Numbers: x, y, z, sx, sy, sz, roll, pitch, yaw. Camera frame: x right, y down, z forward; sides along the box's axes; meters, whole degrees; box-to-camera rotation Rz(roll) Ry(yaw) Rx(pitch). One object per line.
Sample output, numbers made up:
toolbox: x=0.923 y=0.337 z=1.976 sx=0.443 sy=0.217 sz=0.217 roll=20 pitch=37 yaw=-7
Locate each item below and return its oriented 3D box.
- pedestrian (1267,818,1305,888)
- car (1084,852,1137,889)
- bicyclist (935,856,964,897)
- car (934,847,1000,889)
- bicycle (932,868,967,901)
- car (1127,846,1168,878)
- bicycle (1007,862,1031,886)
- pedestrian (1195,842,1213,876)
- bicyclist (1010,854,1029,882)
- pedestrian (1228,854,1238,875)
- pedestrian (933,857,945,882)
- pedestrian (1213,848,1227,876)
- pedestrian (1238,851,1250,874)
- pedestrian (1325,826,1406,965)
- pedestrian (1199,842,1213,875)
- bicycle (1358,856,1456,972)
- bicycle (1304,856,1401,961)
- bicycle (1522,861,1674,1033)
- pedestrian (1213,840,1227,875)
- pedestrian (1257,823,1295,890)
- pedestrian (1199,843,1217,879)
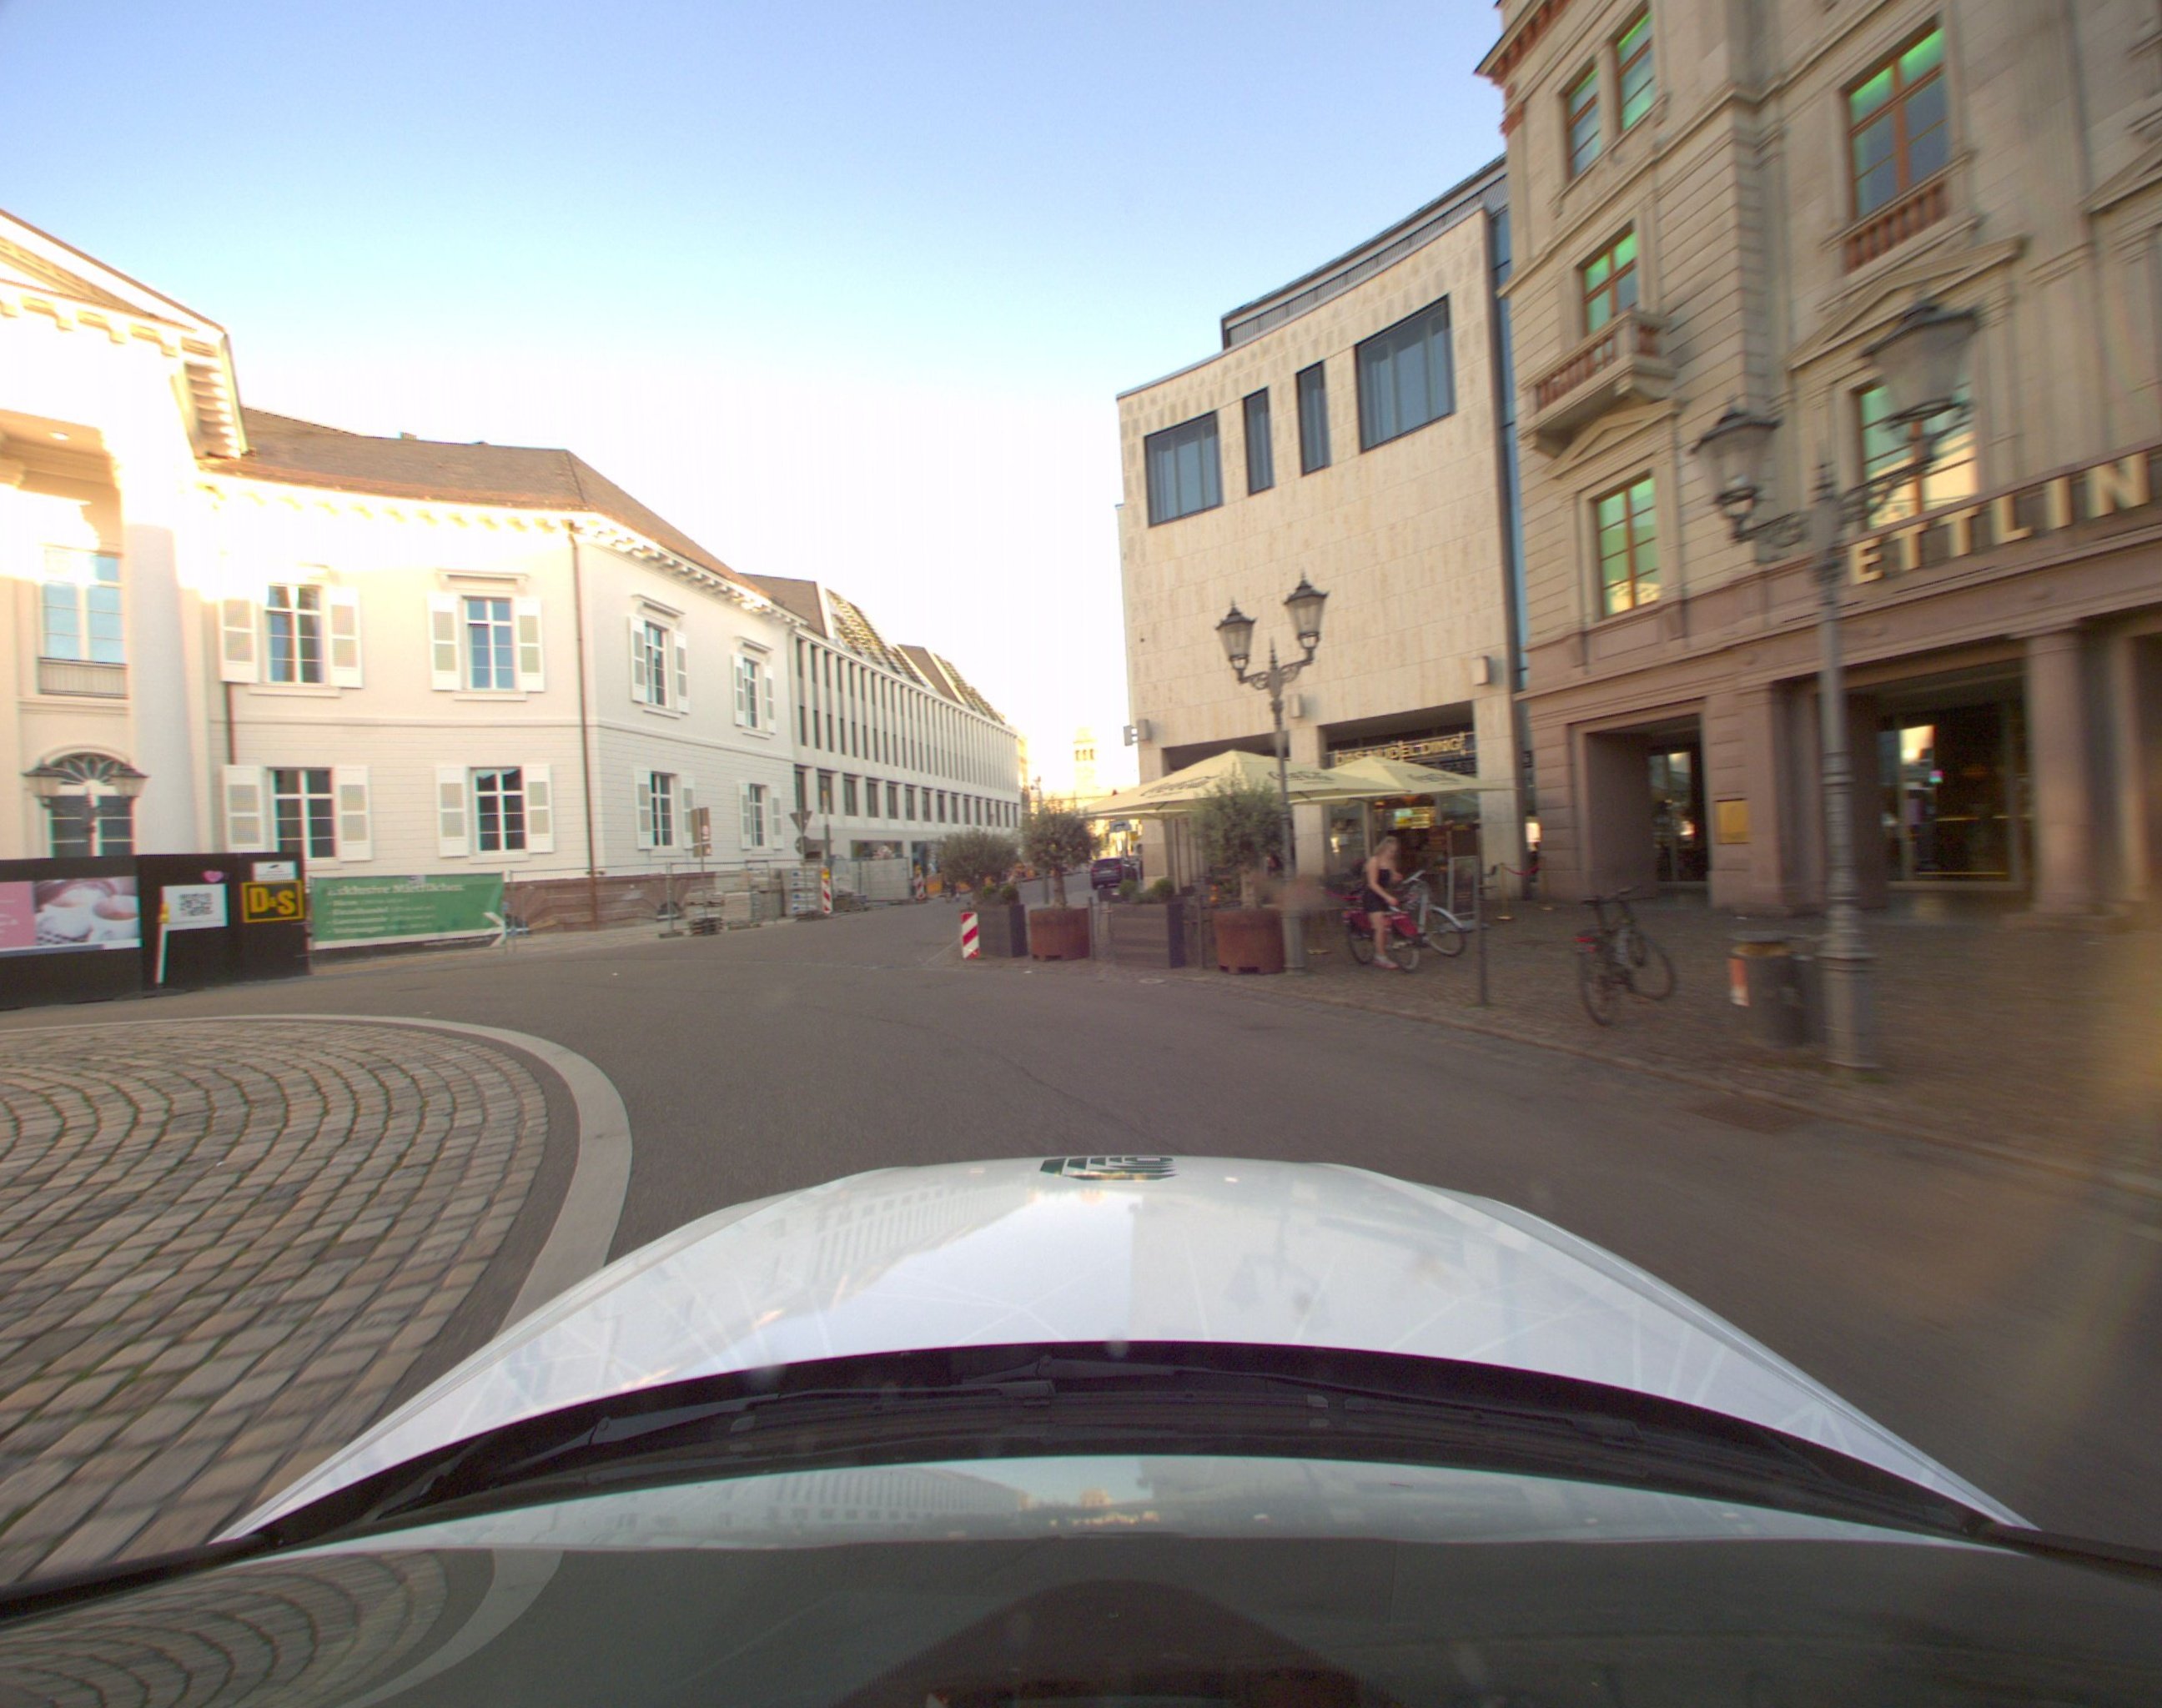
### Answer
pedestrian: x=5.640 y=-0.028 z=22.391 sx=0.709 sy=1.862 sz=0.674 roll=-3 pitch=0 yaw=34
car: x=1.495 y=0.753 z=39.800 sx=1.784 sy=1.490 sz=4.206 roll=-7 pitch=-1 yaw=11
bicyclist: x=-5.406 y=0.929 z=33.586 sx=0.792 sy=1.603 sz=1.233 roll=-3 pitch=0 yaw=6
car: x=-7.193 y=0.814 z=52.126 sx=2.159 sy=2.470 sz=6.018 roll=-3 pitch=0 yaw=11
bicycle: x=-5.390 y=1.248 z=33.578 sx=0.792 sy=1.217 sz=2.237 roll=-3 pitch=0 yaw=7
car: x=3.979 y=0.454 z=48.155 sx=1.757 sy=1.637 sz=4.070 roll=-7 pitch=-1 yaw=11
bicycle: x=-3.517 y=1.127 z=46.254 sx=0.792 sy=1.217 sz=2.238 roll=-3 pitch=0 yaw=8
pedestrian: x=6.246 y=0.249 z=41.287 sx=0.760 sy=1.681 sz=0.879 roll=-3 pitch=1 yaw=10
bicyclist: x=-3.514 y=0.786 z=46.282 sx=0.792 sy=1.532 sz=0.976 roll=-3 pitch=0 yaw=8
pedestrian: x=7.595 y=0.528 z=40.704 sx=0.417 sy=0.986 sz=0.527 roll=-3 pitch=1 yaw=10
pedestrian: x=-9.333 y=1.017 z=53.456 sx=0.539 sy=1.577 sz=0.581 roll=-3 pitch=0 yaw=8
pedestrian: x=6.994 y=0.375 z=40.901 sx=0.629 sy=1.345 sz=0.777 roll=-3 pitch=1 yaw=10
pedestrian: x=8.121 y=0.435 z=40.553 sx=0.484 sy=1.097 sz=0.603 roll=-3 pitch=1 yaw=10
pedestrian: x=3.426 y=0.483 z=9.789 sx=0.740 sy=1.588 sz=0.719 roll=-3 pitch=0 yaw=29
pedestrian: x=6.493 y=0.233 z=42.315 sx=0.587 sy=1.698 sz=0.698 roll=-3 pitch=0 yaw=9
bicycle: x=3.954 y=0.664 z=9.782 sx=0.599 sy=1.128 sz=1.919 roll=-3 pitch=2 yaw=36
bicycle: x=3.595 y=0.672 z=10.685 sx=0.599 sy=1.128 sz=1.919 roll=-3 pitch=2 yaw=36
bicycle: x=4.455 y=0.712 z=6.950 sx=1.917 sy=1.128 sz=0.600 roll=-6 pitch=2 yaw=-43
pedestrian: x=7.361 y=0.164 z=43.097 sx=0.629 sy=1.774 sz=0.777 roll=-3 pitch=1 yaw=10
pedestrian: x=5.219 y=0.060 z=21.777 sx=0.709 sy=1.745 sz=0.674 roll=-3 pitch=0 yaw=34
pedestrian: x=6.290 y=0.339 z=40.199 sx=0.760 sy=1.681 sz=0.879 roll=-3 pitch=1 yaw=10
